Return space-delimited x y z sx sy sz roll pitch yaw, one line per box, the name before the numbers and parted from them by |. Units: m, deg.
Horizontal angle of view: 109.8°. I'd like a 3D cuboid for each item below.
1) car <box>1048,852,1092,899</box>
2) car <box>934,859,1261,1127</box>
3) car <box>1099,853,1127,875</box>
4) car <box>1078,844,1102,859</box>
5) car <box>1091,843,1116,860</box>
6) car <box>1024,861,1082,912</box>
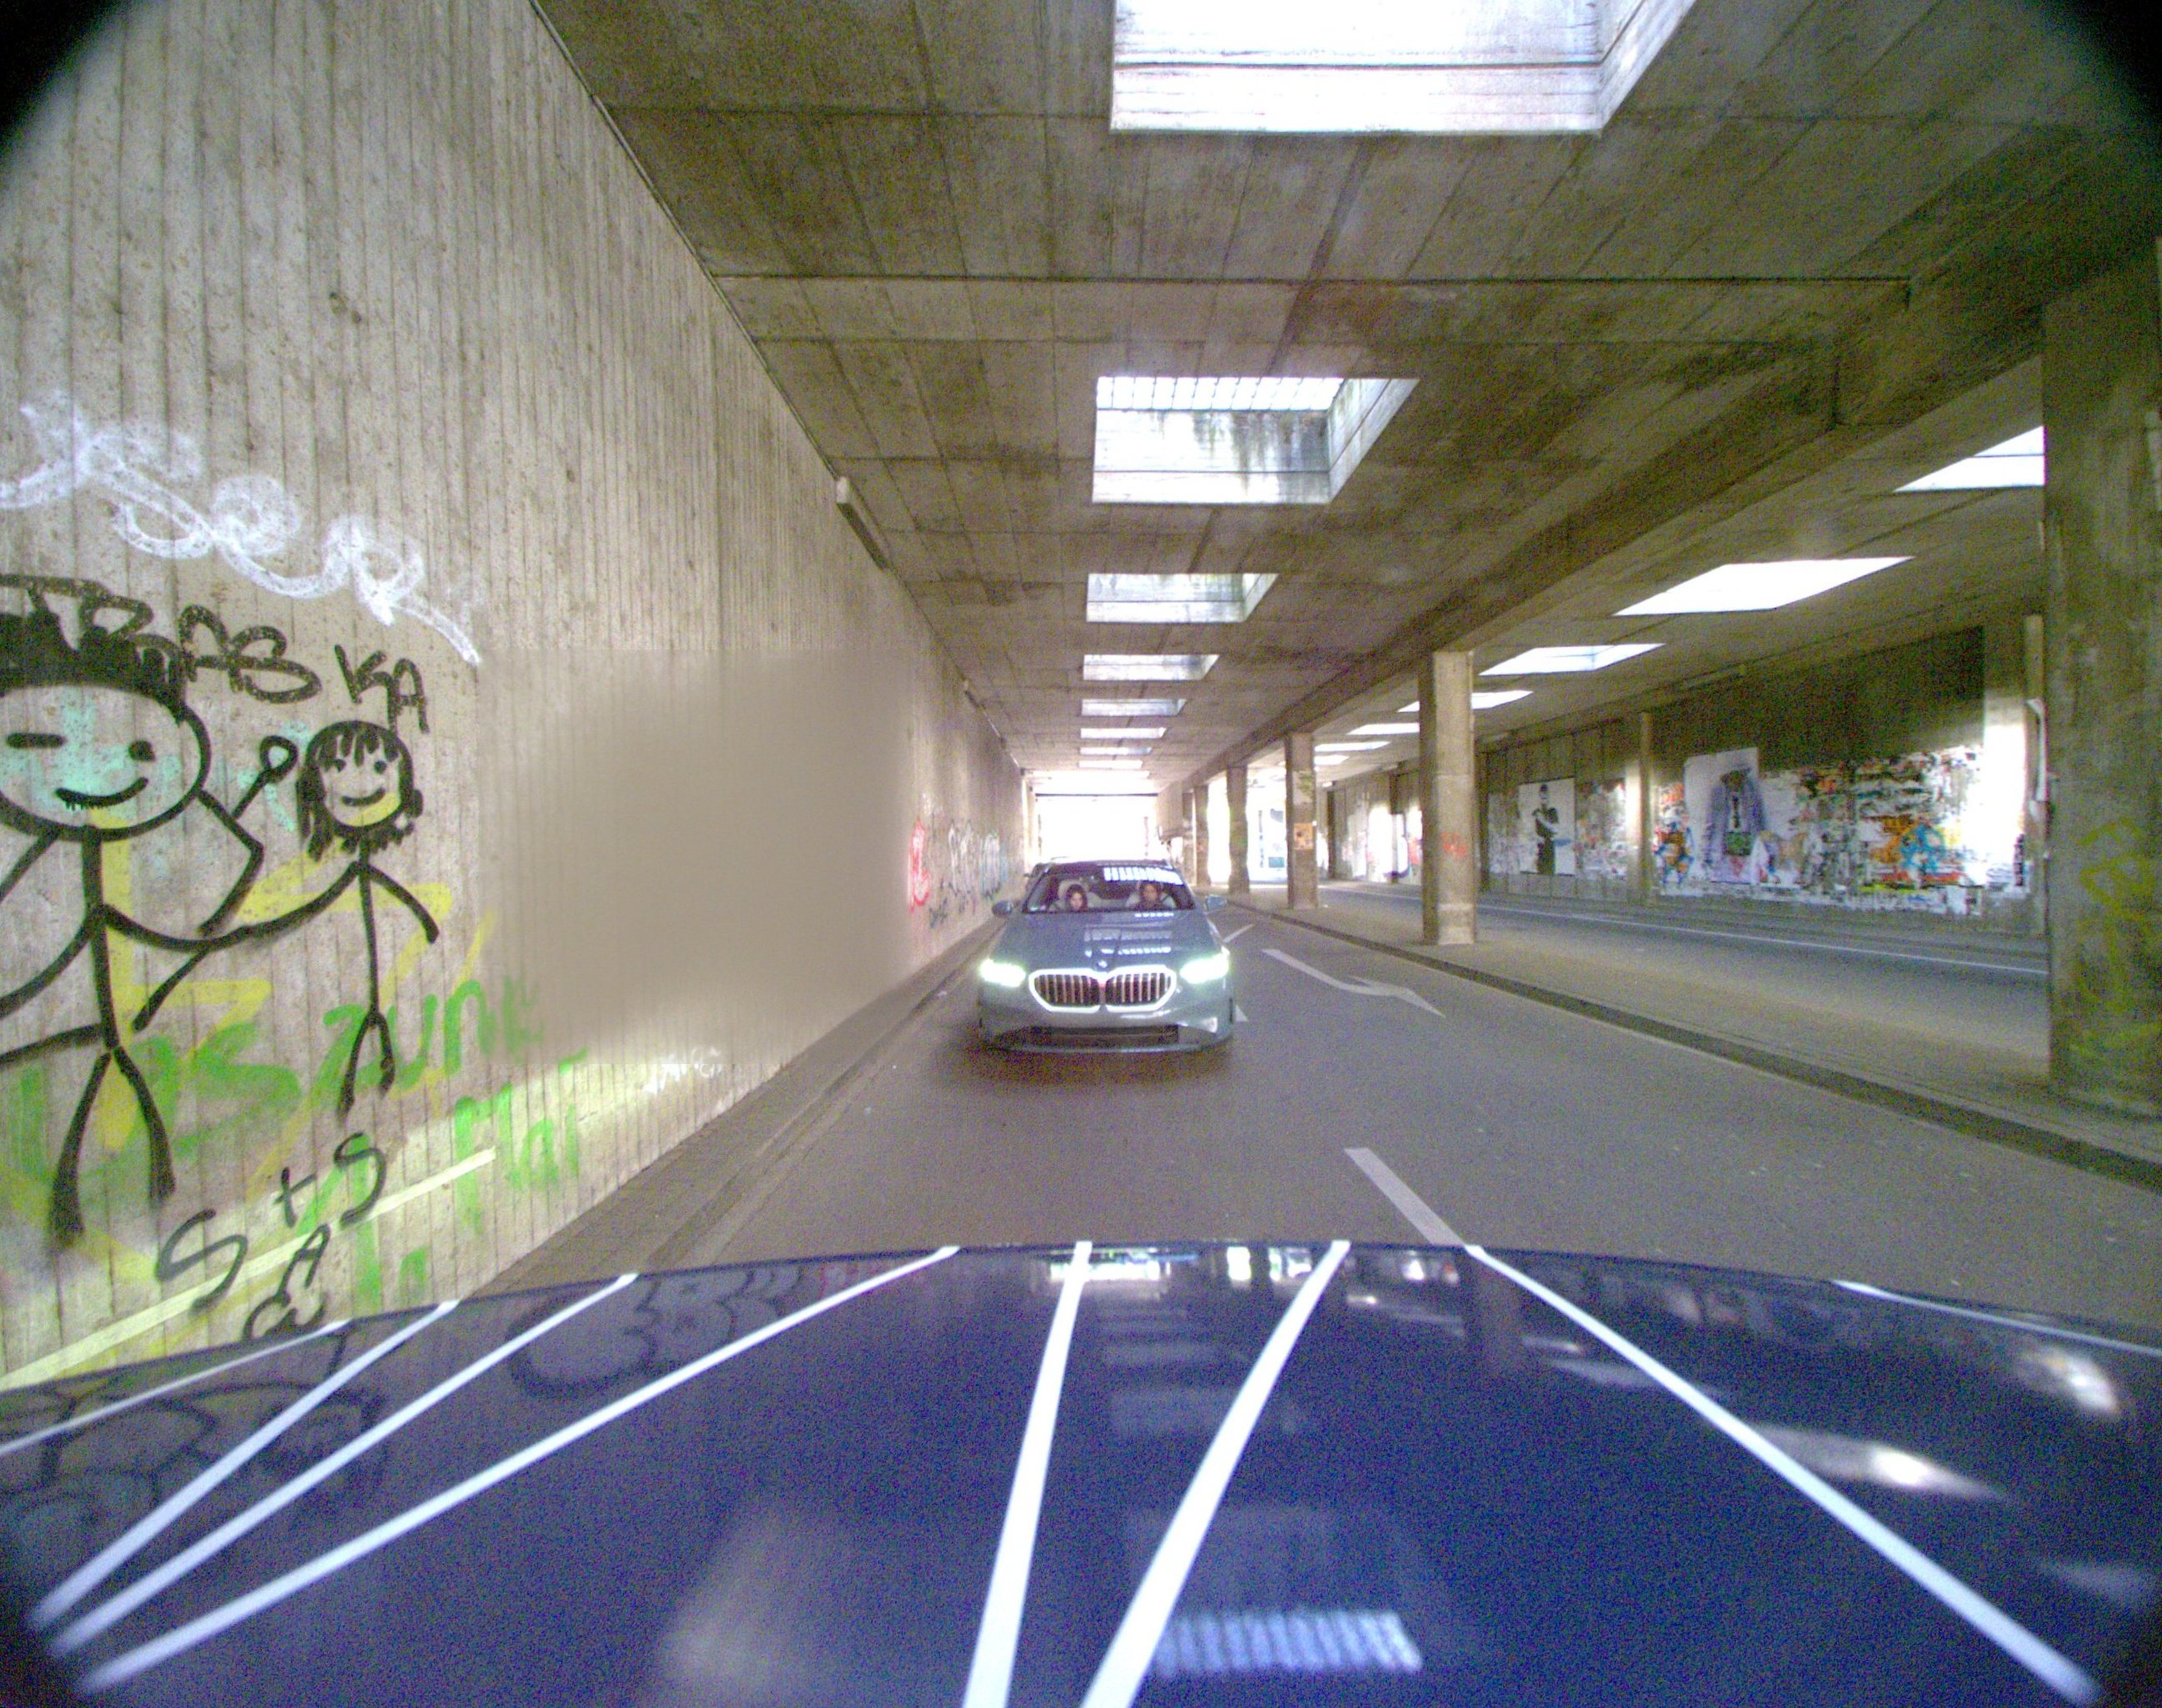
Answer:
car | -0.377 0.773 29.887 1.581 1.676 4.078 -2 0 1
car | 0.179 0.886 7.306 1.998 1.594 5.176 -1 0 2
car | 2.234 0.681 53.225 1.784 1.438 4.178 -1 0 0
car | 1.184 -0.331 103.532 2.361 2.002 5.146 -1 0 -8
car | 2.839 -0.326 97.519 2.361 2.002 5.146 -1 0 -8
car | -0.799 0.954 23.881 1.593 1.387 3.833 -2 0 1
